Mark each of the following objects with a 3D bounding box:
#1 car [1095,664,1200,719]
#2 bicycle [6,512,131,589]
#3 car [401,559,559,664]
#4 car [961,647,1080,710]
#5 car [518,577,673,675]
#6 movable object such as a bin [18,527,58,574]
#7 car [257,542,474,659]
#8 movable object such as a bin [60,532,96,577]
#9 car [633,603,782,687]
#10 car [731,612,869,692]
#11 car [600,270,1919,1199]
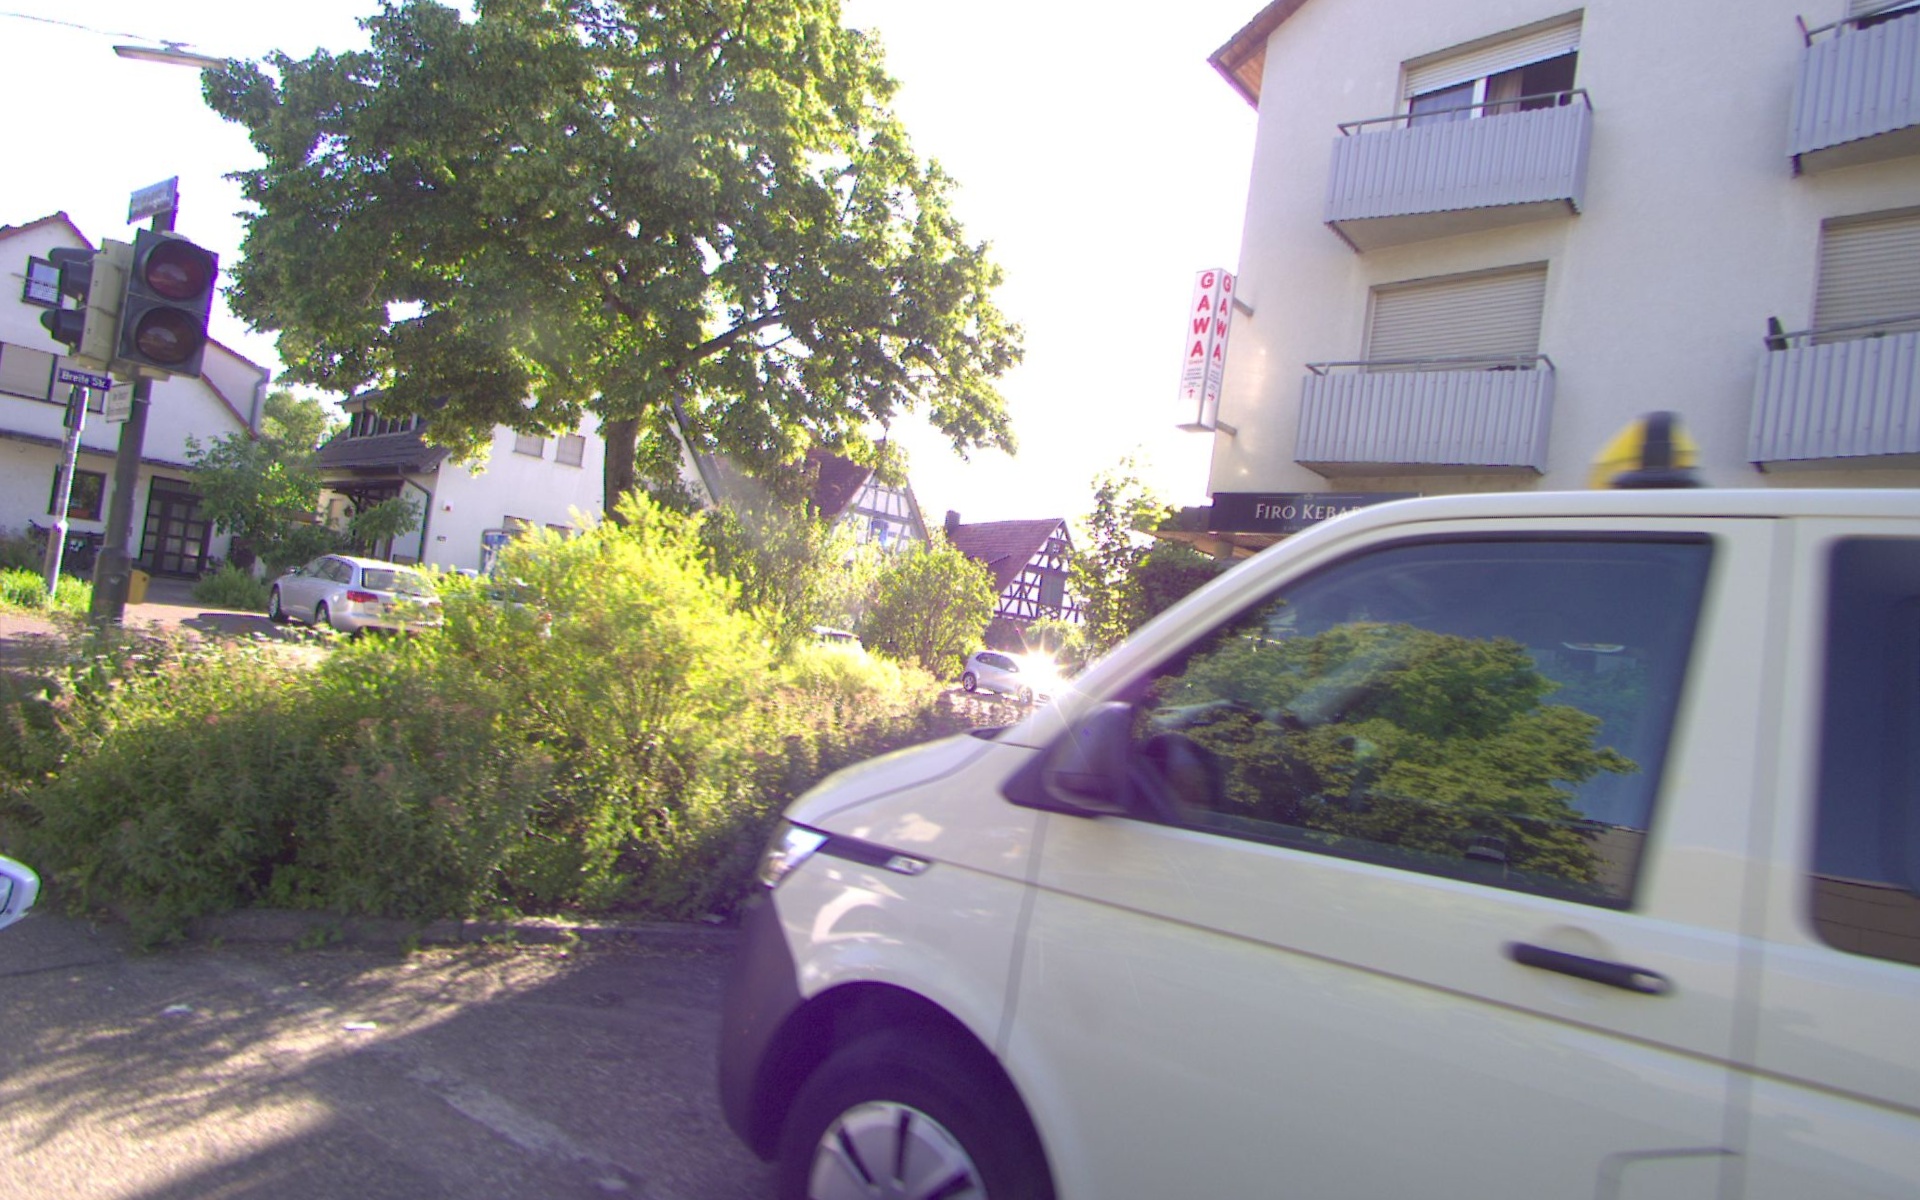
[{"bbox_3d":[7.130,3.489,38.514,3.569,1.470,1.454,8,-1,42],"label":"car"},{"bbox_3d":[-18.480,-1.016,20.882,0.690,1.298,1.738,6,-3,39],"label":"bicycle"},{"bbox_3d":[-10.052,0.178,20.892,1.704,1.534,4.352,11,-2,-41],"label":"car"},{"bbox_3d":[1.909,2.517,32.506,3.569,1.437,1.453,8,0,42],"label":"car"},{"bbox_3d":[-8.403,0.548,22.947,1.703,1.569,4.352,11,-2,-41],"label":"car"},{"bbox_3d":[-21.907,-1.180,23.913,0.660,0.994,0.529,7,-2,41],"label":"movable object such as a bin"},{"bbox_3d":[-11.175,-0.043,18.762,4.734,1.438,1.993,8,-2,41],"label":"car"},{"bbox_3d":[-21.414,-1.097,24.423,0.585,0.988,0.497,7,-2,41],"label":"movable object such as a bin"},{"bbox_3d":[-6.279,1.077,24.758,1.642,1.364,4.061,12,-3,-43],"label":"car"},{"bbox_3d":[-4.281,1.331,26.566,1.593,1.491,3.761,9,-1,-43],"label":"car"},{"bbox_3d":[1.667,0.764,2.033,4.505,2.101,1.998,6,-4,34],"label":"car"}]
